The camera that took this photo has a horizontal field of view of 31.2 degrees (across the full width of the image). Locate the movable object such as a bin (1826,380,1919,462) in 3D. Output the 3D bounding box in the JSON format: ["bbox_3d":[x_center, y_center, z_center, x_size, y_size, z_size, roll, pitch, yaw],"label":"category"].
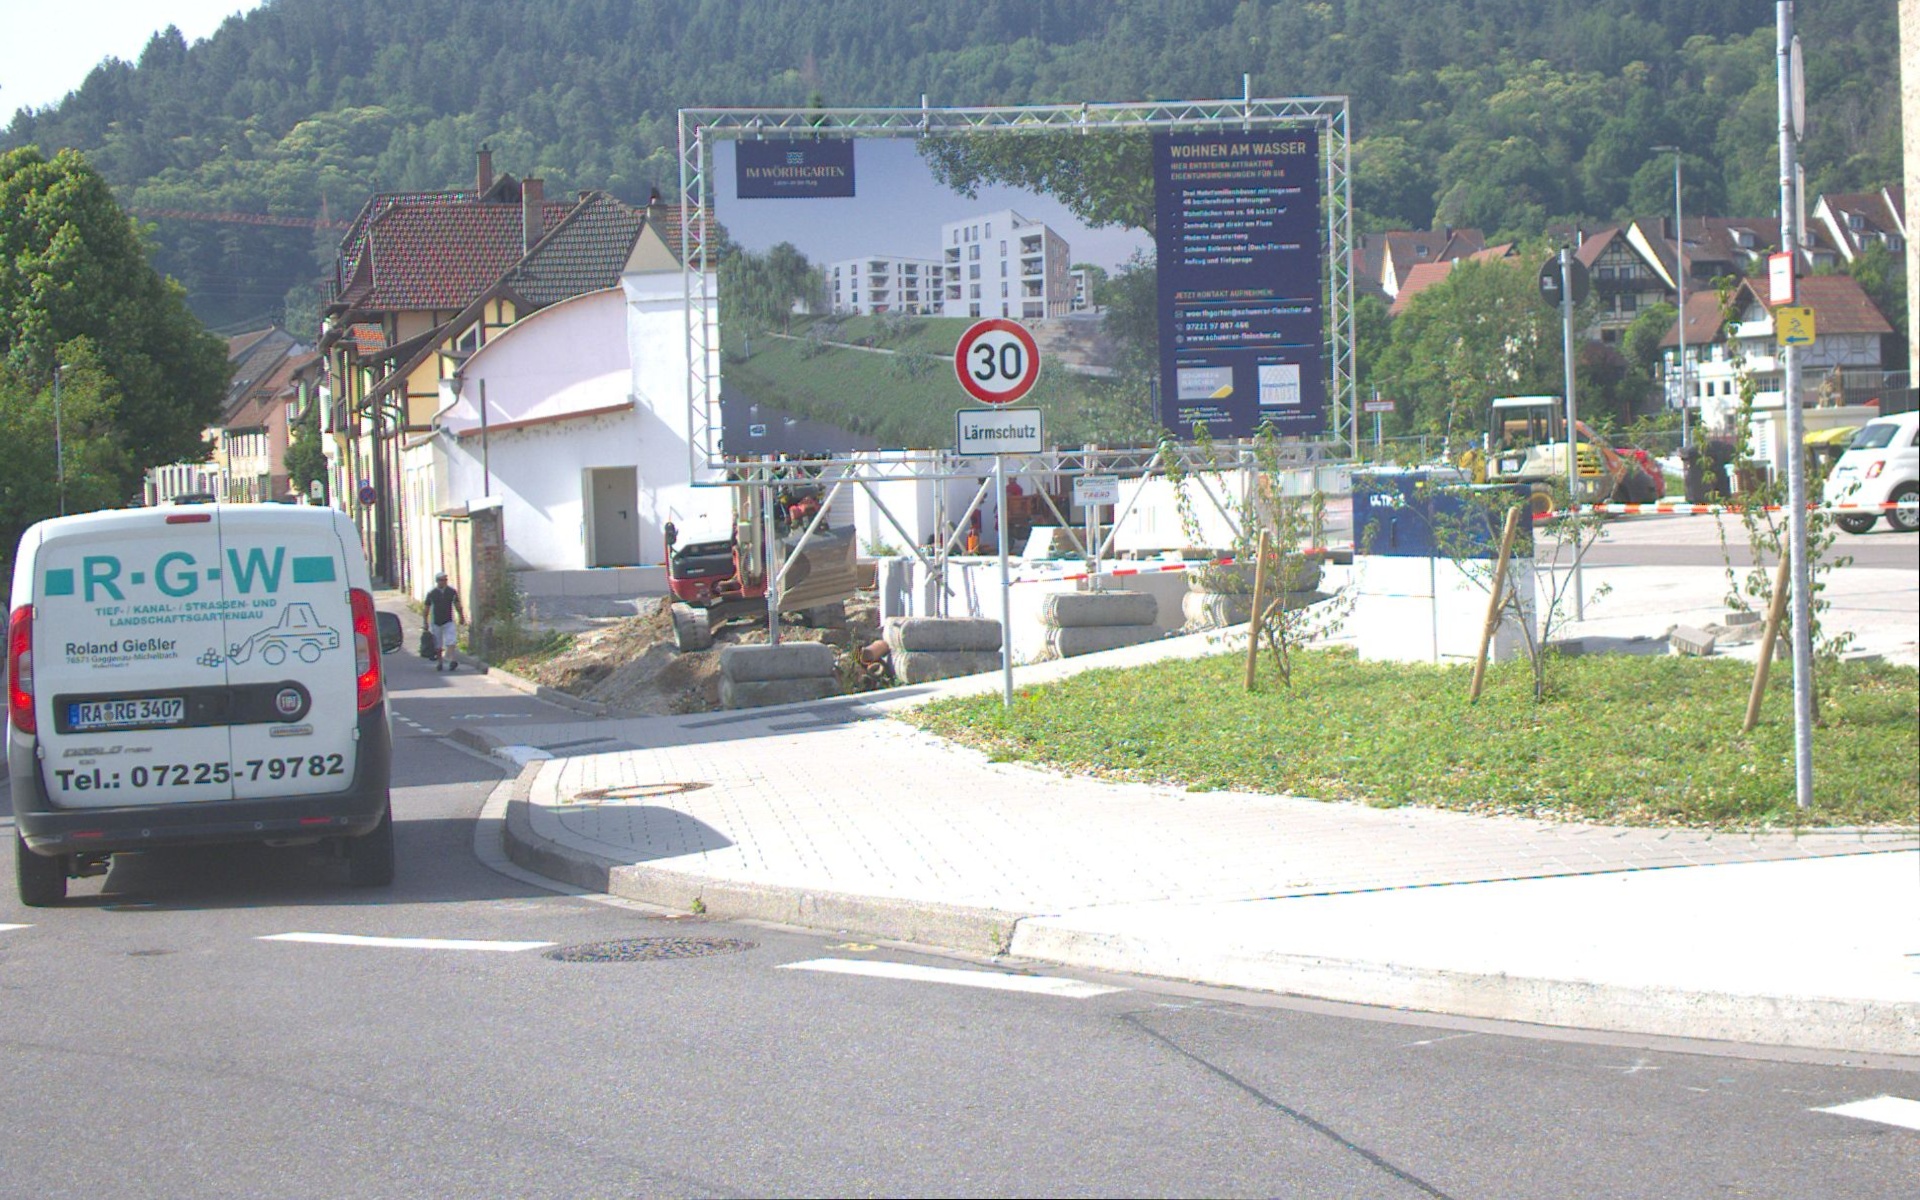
[{"bbox_3d":[16.602,-3.255,62.539,1.299,1.459,1.320,0,2,-2],"label":"movable object such as a bin"}]

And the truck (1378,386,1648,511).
[{"bbox_3d":[11.620,-3.166,72.081,5.318,2.258,2.218,-3,2,14],"label":"truck"}]

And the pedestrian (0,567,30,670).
[{"bbox_3d":[-15.374,0.295,54.833,0.957,1.625,0.758,-2,1,-12],"label":"pedestrian"}]

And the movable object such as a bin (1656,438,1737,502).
[{"bbox_3d":[14.840,-2.629,69.286,1.296,1.263,1.320,0,2,-2],"label":"movable object such as a bin"}]

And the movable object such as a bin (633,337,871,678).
[{"bbox_3d":[-2.717,-1.136,42.739,2.294,3.840,7.801,0,1,-8],"label":"movable object such as a bin"}]

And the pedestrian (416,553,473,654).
[{"bbox_3d":[-8.677,0.049,57.826,0.888,1.677,0.719,-1,1,-12],"label":"pedestrian"}]

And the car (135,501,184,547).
[{"bbox_3d":[-52.883,-5.024,226.915,2.874,2.825,6.126,-3,3,-14],"label":"car"}]

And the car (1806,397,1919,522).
[{"bbox_3d":[12.831,-1.857,44.104,3.404,1.490,1.595,-4,1,-13],"label":"car"}]

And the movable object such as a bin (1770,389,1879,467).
[{"bbox_3d":[16.471,-3.269,65.536,1.693,1.459,1.320,0,2,-2],"label":"movable object such as a bin"}]

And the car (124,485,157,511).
[{"bbox_3d":[-51.215,-6.404,214.825,1.810,1.591,3.928,0,2,-17],"label":"car"}]

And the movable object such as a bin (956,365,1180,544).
[{"bbox_3d":[2.348,-3.065,72.513,2.853,3.609,5.730,1,3,23],"label":"movable object such as a bin"}]

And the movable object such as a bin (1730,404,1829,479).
[{"bbox_3d":[16.049,-3.103,67.350,1.580,1.459,1.320,0,2,-2],"label":"movable object such as a bin"}]

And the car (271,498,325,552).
[{"bbox_3d":[-25.763,-2.934,133.731,1.871,2.006,4.002,-2,2,-13],"label":"car"}]

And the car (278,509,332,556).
[{"bbox_3d":[-23.626,-2.452,123.902,1.810,1.591,3.928,0,2,-12],"label":"car"}]

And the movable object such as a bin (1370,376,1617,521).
[{"bbox_3d":[10.696,-3.020,68.872,4.615,2.560,1.924,-3,1,14],"label":"movable object such as a bin"}]

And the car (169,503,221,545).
[{"bbox_3d":[-30.479,-3.037,136.937,1.810,1.591,3.928,0,2,-16],"label":"car"}]

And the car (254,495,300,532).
[{"bbox_3d":[-29.728,-3.785,149.532,1.669,1.502,4.002,-3,3,-14],"label":"car"}]

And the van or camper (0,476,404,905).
[{"bbox_3d":[-3.963,0.408,17.588,1.827,1.838,4.189,-3,0,-13],"label":"van or camper"}]

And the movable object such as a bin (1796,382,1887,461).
[{"bbox_3d":[16.407,-3.322,64.033,1.299,1.459,1.320,0,2,-2],"label":"movable object such as a bin"}]
